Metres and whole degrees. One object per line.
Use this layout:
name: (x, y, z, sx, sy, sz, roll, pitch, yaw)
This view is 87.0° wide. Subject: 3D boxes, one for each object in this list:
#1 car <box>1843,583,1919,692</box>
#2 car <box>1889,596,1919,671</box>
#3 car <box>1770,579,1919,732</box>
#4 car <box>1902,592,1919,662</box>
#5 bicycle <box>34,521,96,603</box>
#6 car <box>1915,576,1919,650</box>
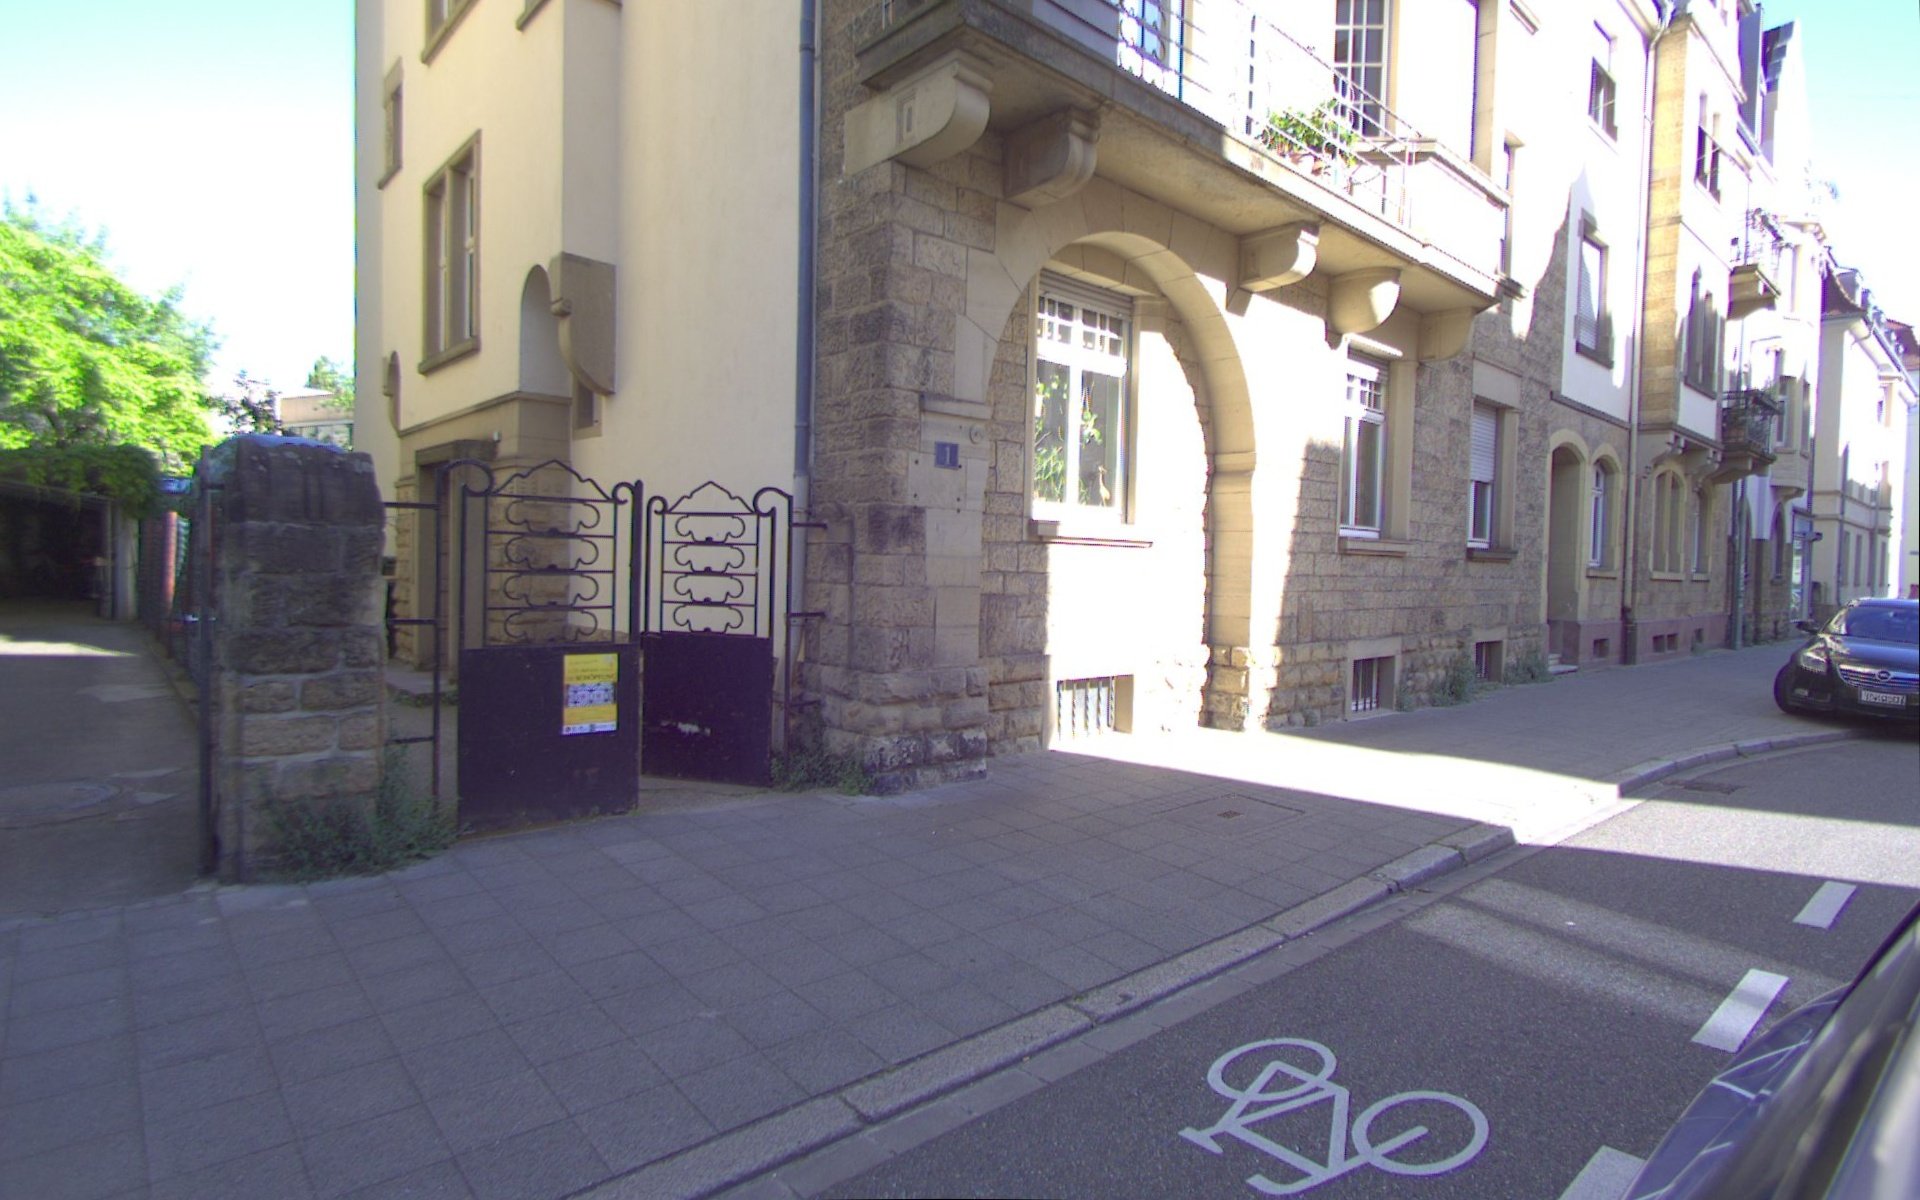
car: (15.531, 0.577, 15.873, 4.247, 1.527, 2.004, 1, 3, -42)
car: (18.794, 0.631, 18.977, 3.667, 1.295, 1.659, -1, 4, -42)
car: (11.487, 0.580, 12.175, 4.043, 1.526, 2.023, -1, 5, -42)
car: (22.170, 0.595, 22.199, 4.247, 1.440, 1.823, -1, 4, -42)
bicycle: (-18.302, -0.809, 20.729, 0.903, 1.530, 2.672, 0, 4, -41)
car: (26.233, 0.350, 26.056, 4.247, 1.860, 2.004, -1, 4, -42)
